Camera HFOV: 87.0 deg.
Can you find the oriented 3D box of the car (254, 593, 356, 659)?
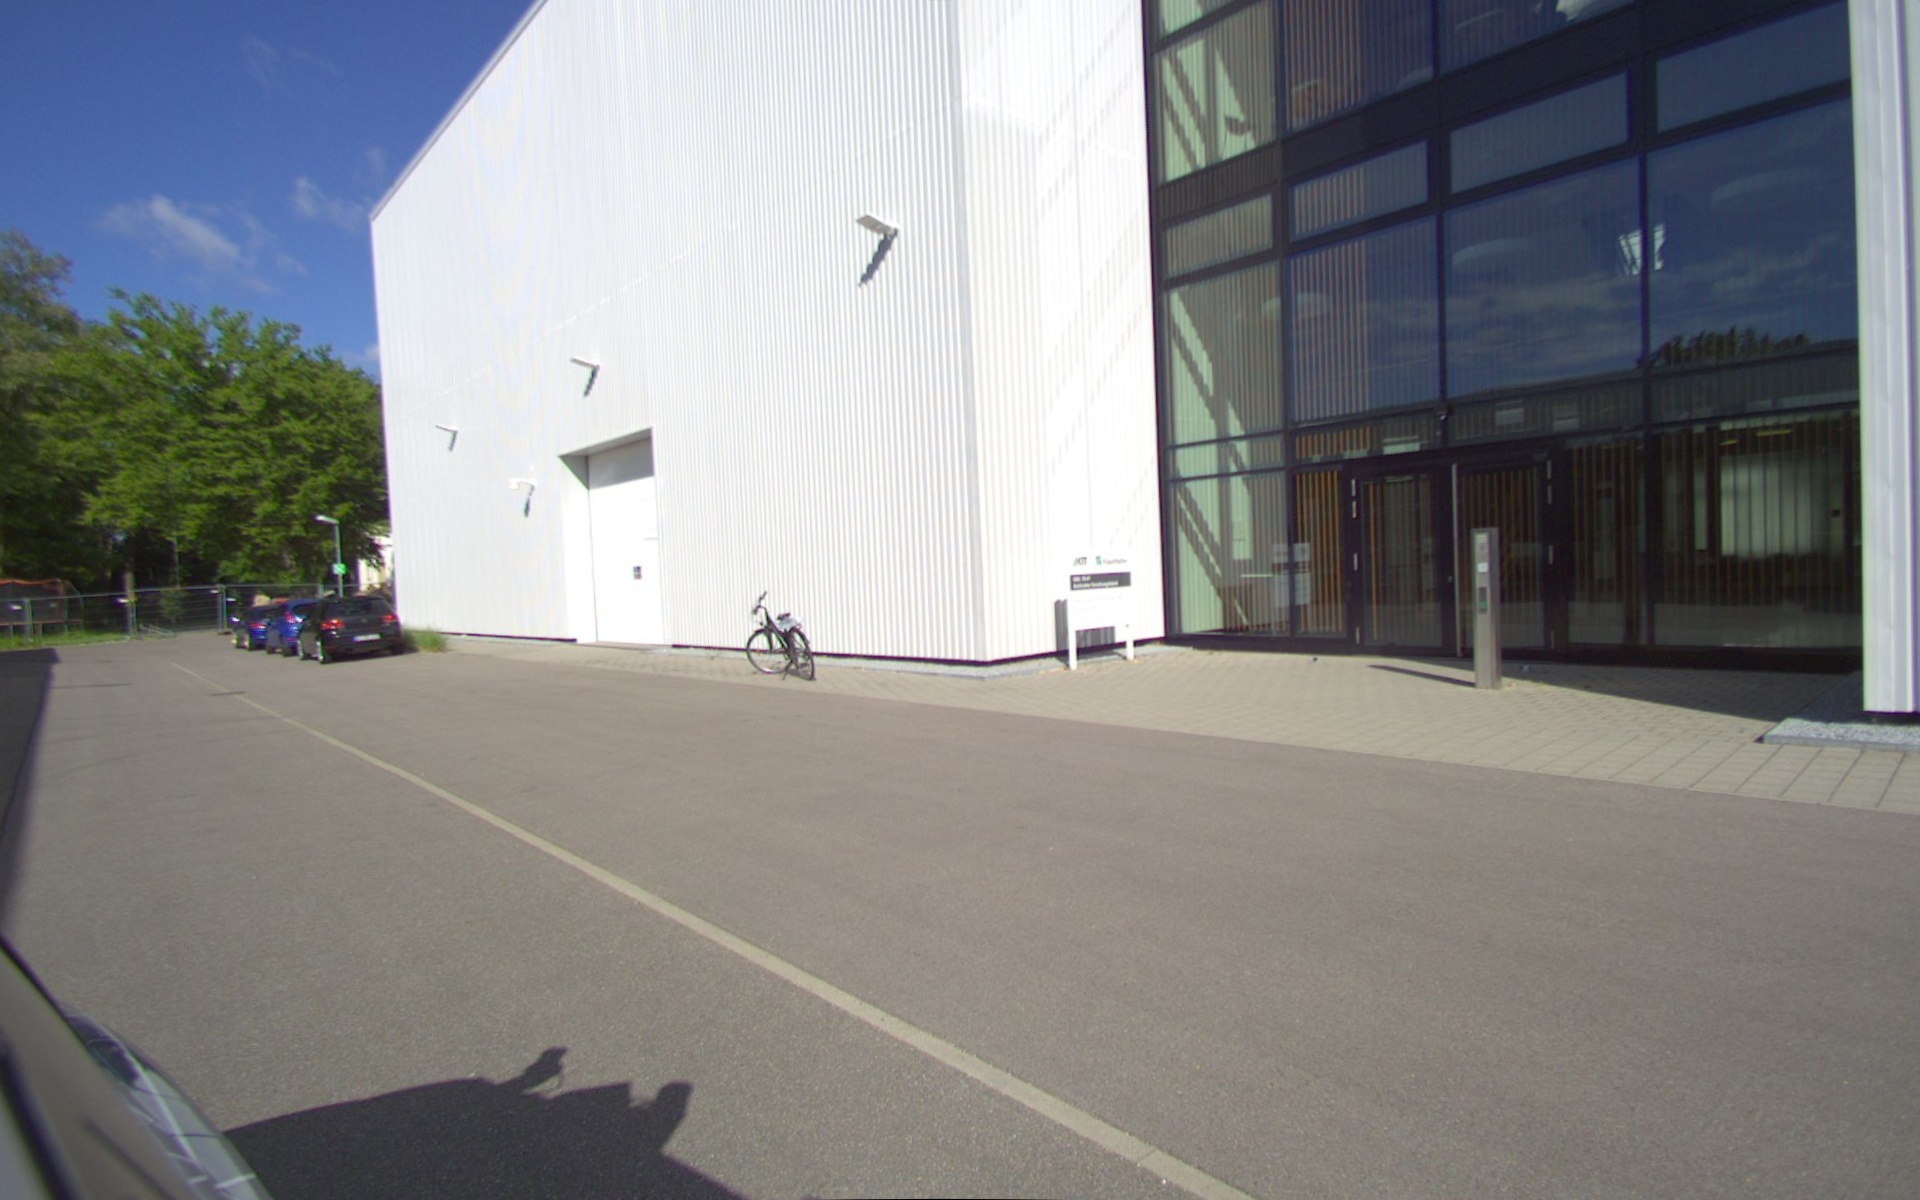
[{"bbox_3d":[-18.133,0.674,27.941,1.764,1.532,4.007,-7,4,-40],"label":"car"}]

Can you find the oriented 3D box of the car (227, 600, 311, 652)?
[{"bbox_3d":[-21.876,0.778,31.981,1.763,1.451,4.007,-3,1,-40],"label":"car"}]

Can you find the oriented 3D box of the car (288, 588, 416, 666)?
[{"bbox_3d":[-14.539,0.589,24.104,1.868,1.532,4.007,-7,4,-40],"label":"car"}]

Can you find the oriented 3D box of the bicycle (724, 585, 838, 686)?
[{"bbox_3d":[-2.431,0.429,13.569,0.895,1.151,1.906,-7,4,-27],"label":"bicycle"}]
